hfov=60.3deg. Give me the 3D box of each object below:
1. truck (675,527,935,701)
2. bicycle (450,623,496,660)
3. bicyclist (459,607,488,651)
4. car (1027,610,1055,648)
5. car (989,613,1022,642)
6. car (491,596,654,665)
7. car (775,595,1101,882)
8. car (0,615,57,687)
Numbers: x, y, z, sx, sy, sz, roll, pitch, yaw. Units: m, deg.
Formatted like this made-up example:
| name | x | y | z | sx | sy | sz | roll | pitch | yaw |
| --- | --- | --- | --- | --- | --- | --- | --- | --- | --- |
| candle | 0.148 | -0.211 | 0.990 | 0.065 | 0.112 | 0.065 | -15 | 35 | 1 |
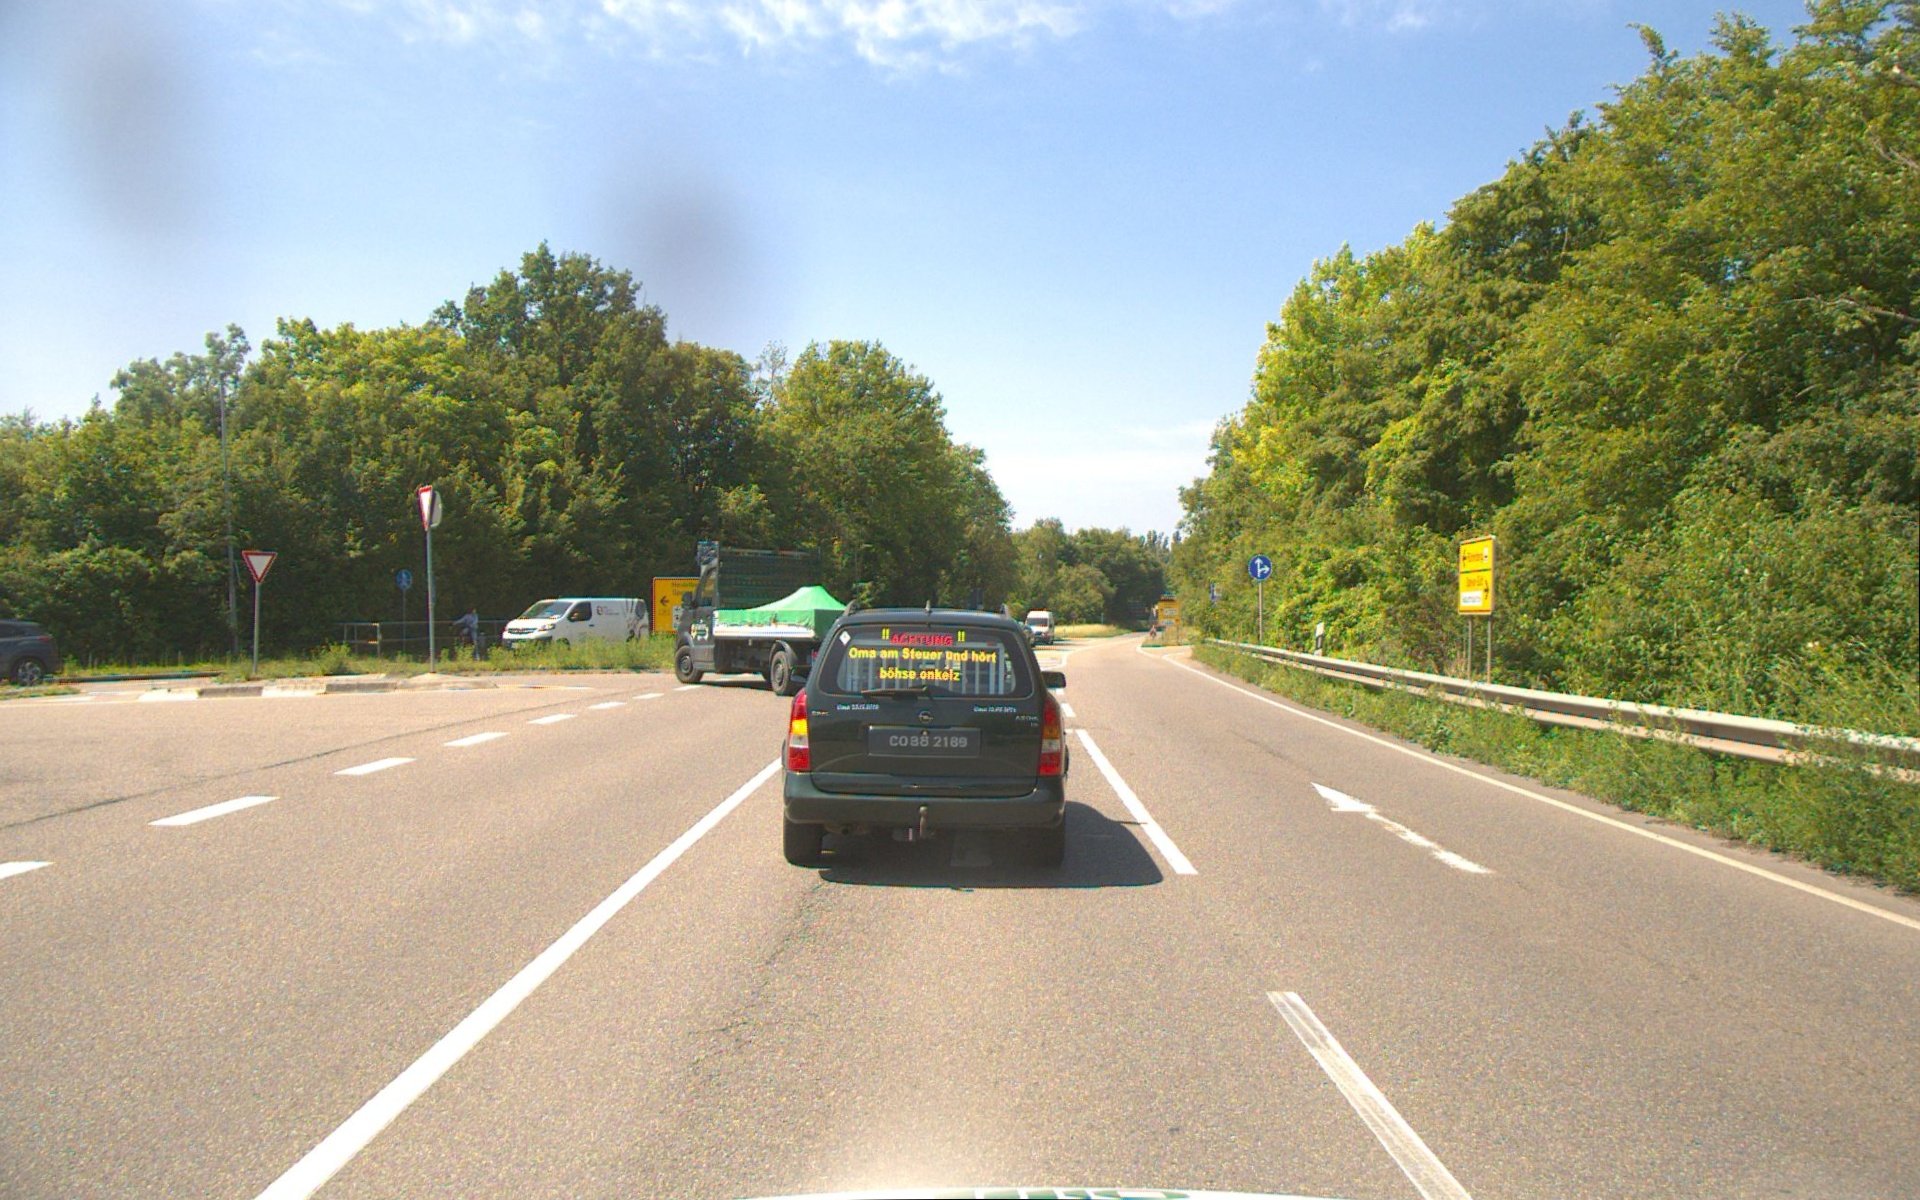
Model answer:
| name | x | y | z | sx | sy | sz | roll | pitch | yaw |
| --- | --- | --- | --- | --- | --- | --- | --- | --- | --- |
| truck | -2.834 | 0.213 | 28.257 | 2.114 | 2.610 | 6.579 | 1 | 0 | -27 |
| bicycle | -15.439 | 1.318 | 52.431 | 0.427 | 1.133 | 1.477 | -1 | -1 | 33 |
| bicyclist | -15.426 | 0.922 | 52.454 | 0.675 | 1.387 | 0.607 | 0 | 0 | 34 |
| car | 6.302 | 2.236 | 128.888 | 2.061 | 2.900 | 6.014 | 1 | -1 | 4 |
| car | 2.383 | 1.404 | 85.123 | 1.610 | 1.443 | 3.767 | 1 | -1 | 3 |
| car | -11.655 | 0.896 | 50.173 | 1.970 | 1.957 | 5.189 | 1 | 0 | 26 |
| car | -0.104 | 0.740 | 10.573 | 1.685 | 1.482 | 3.797 | 1 | 0 | 0 |
| car | -22.985 | 1.156 | 37.877 | 3.883 | 1.624 | 1.748 | 1 | 0 | -35 |
